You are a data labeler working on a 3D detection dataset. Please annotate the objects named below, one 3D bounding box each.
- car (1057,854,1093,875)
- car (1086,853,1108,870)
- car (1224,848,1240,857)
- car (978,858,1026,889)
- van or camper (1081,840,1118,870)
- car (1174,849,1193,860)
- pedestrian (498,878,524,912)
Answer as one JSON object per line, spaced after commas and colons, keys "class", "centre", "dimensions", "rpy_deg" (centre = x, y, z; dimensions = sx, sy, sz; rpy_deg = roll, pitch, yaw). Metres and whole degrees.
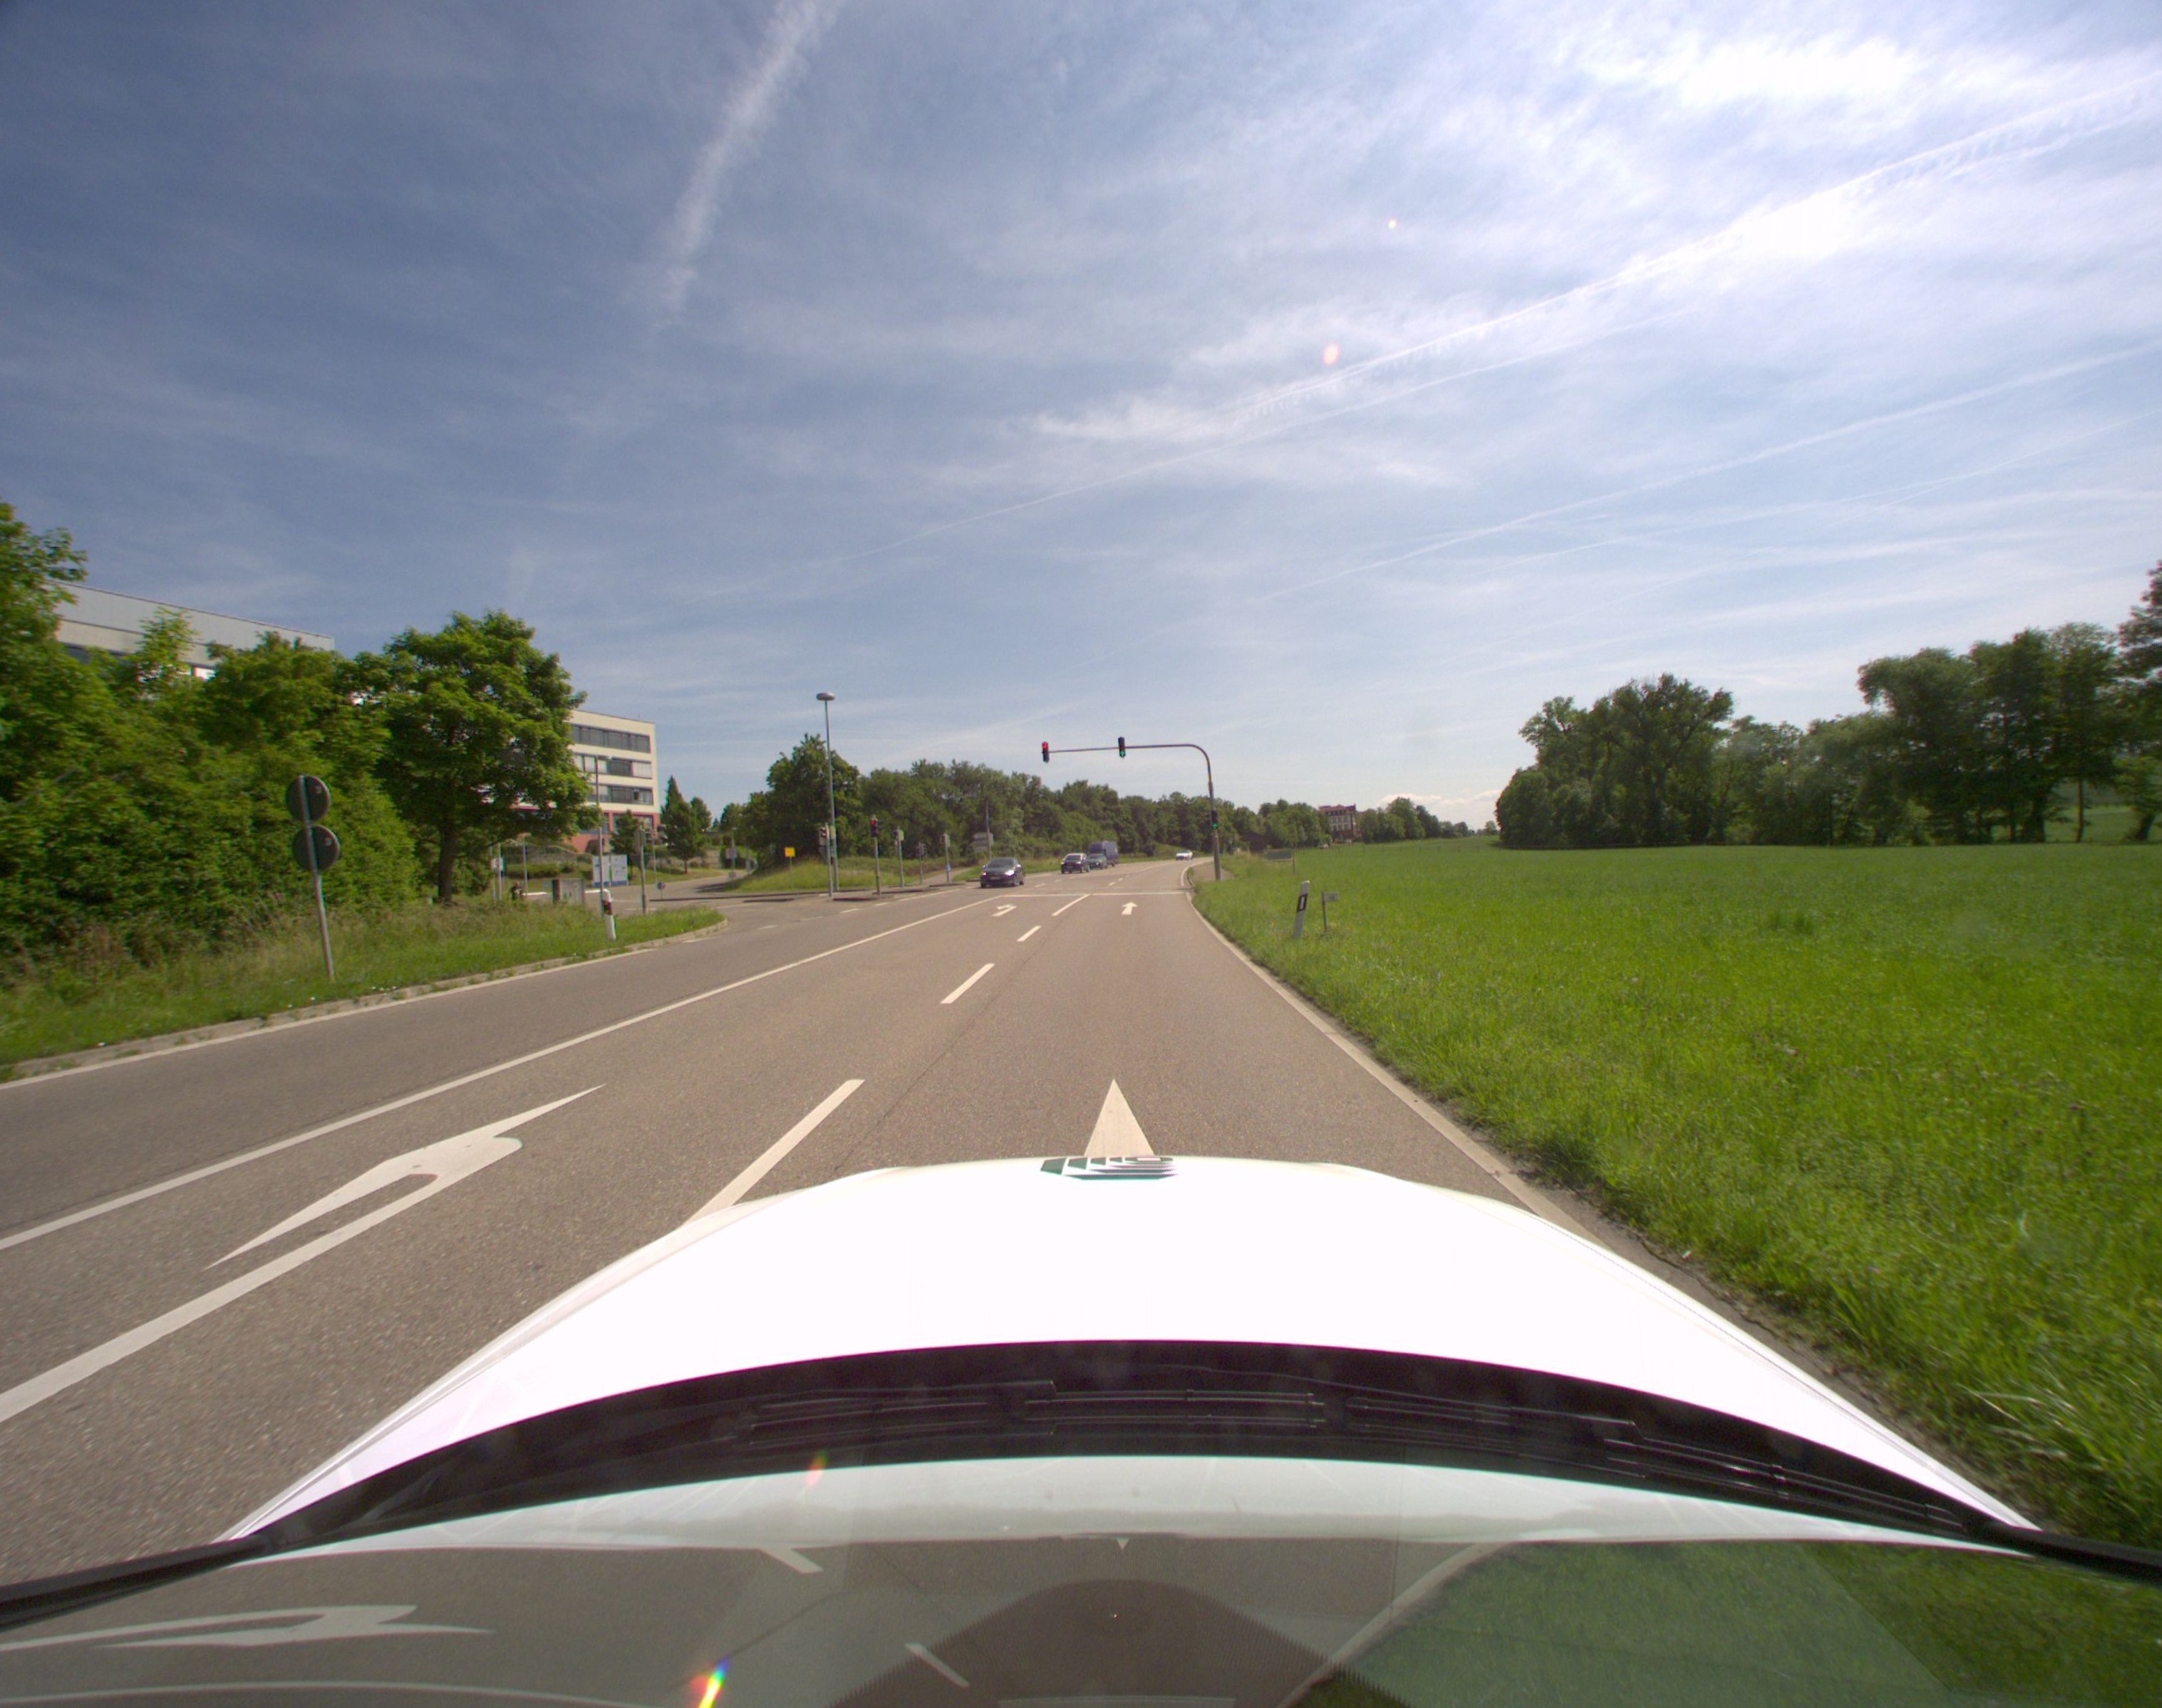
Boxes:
{"class": "car", "centre": [-0.467, 0.817, 65.840], "dimensions": [1.961, 1.562, 4.203], "rpy_deg": [-2, 0, 13]}
{"class": "car", "centre": [1.553, 0.693, 78.587], "dimensions": [1.697, 1.483, 3.840], "rpy_deg": [-2, 0, 7]}
{"class": "car", "centre": [27.275, -0.288, 147.321], "dimensions": [1.976, 1.574, 4.022], "rpy_deg": [-3, 0, 23]}
{"class": "car", "centre": [-4.031, 0.970, 42.143], "dimensions": [1.784, 1.474, 4.314], "rpy_deg": [-2, 0, 3]}
{"class": "van or camper", "centre": [2.062, 0.061, 87.520], "dimensions": [2.223, 2.913, 7.276], "rpy_deg": [-3, 1, 14]}
{"class": "car", "centre": [16.018, 0.082, 126.753], "dimensions": [1.921, 1.548, 4.651], "rpy_deg": [-2, 0, 20]}
{"class": "pedestrian", "centre": [-30.666, 2.203, 43.834], "dimensions": [0.910, 1.736, 0.905], "rpy_deg": [-3, -1, 42]}
